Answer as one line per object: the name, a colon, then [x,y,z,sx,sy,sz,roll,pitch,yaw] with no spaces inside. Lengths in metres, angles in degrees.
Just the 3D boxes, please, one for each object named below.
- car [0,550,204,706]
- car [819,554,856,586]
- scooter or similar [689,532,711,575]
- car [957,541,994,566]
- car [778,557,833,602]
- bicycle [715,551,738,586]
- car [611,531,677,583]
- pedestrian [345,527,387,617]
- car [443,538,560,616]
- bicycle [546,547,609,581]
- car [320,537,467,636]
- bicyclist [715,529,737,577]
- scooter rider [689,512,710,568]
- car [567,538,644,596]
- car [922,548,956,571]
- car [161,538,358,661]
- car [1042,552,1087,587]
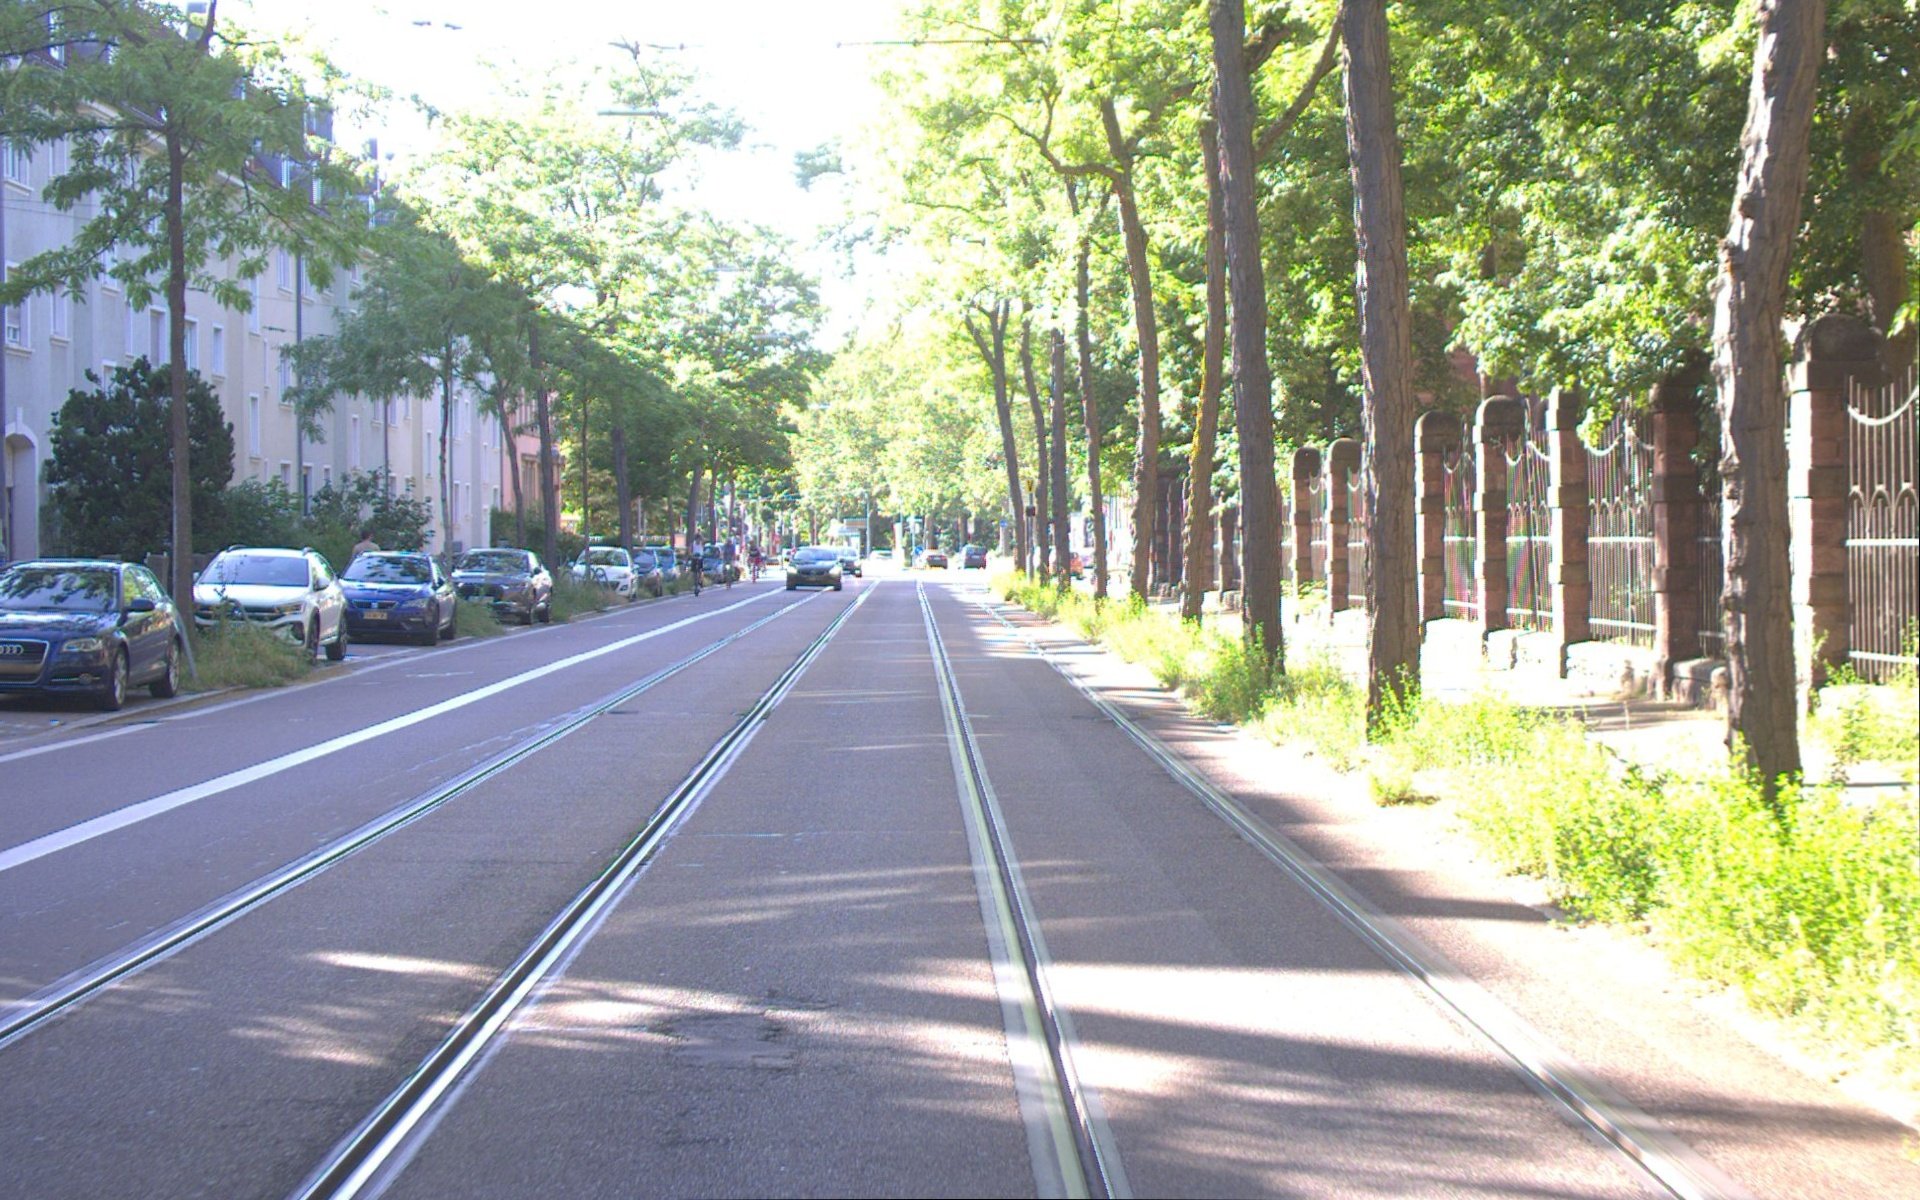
car: [-8.768,0.231,34.050,1.705,1.401,4.334,1,1,-2]
car: [-5.727,-1.419,160.550,1.699,1.434,4.072,0,1,-2]
scooter or similar: [-7.972,-1.419,105.411,0.520,1.293,1.377,-3,1,-1]
car: [0.997,-3.067,224.241,1.942,1.605,4.001,0,1,-6]
car: [-5.089,-0.685,113.560,1.757,1.434,4.524,0,1,-2]
bicycle: [-8.094,-1.111,119.330,0.626,1.173,1.913,-3,1,-1]
car: [-9.491,-1.298,103.394,1.687,1.480,3.760,3,1,-2]
pedestrian: [-11.919,-0.560,69.025,0.691,1.795,0.813,0,1,-1]
car: [-9.149,-0.483,68.854,1.817,1.480,4.206,1,1,-1]
bicycle: [-14.427,-1.365,129.678,2.285,1.194,0.559,3,2,6]
car: [-9.126,-0.245,55.674,1.757,1.506,4.439,1,1,-2]
bicyclist: [-8.118,-1.640,119.212,0.626,1.633,0.940,-3,1,-1]
scooter rider: [-7.998,-1.829,105.394,0.496,1.694,0.787,-3,1,-1]
car: [-9.789,-0.932,95.179,1.702,1.480,4.079,3,1,-1]
car: [-1.475,-2.833,238.750,1.942,1.605,4.001,0,1,-6]
car: [-9.180,-0.042,45.355,1.817,1.506,4.372,1,1,-2]
car: [4.953,-1.466,163.586,1.839,1.649,3.580,0,1,-3]
